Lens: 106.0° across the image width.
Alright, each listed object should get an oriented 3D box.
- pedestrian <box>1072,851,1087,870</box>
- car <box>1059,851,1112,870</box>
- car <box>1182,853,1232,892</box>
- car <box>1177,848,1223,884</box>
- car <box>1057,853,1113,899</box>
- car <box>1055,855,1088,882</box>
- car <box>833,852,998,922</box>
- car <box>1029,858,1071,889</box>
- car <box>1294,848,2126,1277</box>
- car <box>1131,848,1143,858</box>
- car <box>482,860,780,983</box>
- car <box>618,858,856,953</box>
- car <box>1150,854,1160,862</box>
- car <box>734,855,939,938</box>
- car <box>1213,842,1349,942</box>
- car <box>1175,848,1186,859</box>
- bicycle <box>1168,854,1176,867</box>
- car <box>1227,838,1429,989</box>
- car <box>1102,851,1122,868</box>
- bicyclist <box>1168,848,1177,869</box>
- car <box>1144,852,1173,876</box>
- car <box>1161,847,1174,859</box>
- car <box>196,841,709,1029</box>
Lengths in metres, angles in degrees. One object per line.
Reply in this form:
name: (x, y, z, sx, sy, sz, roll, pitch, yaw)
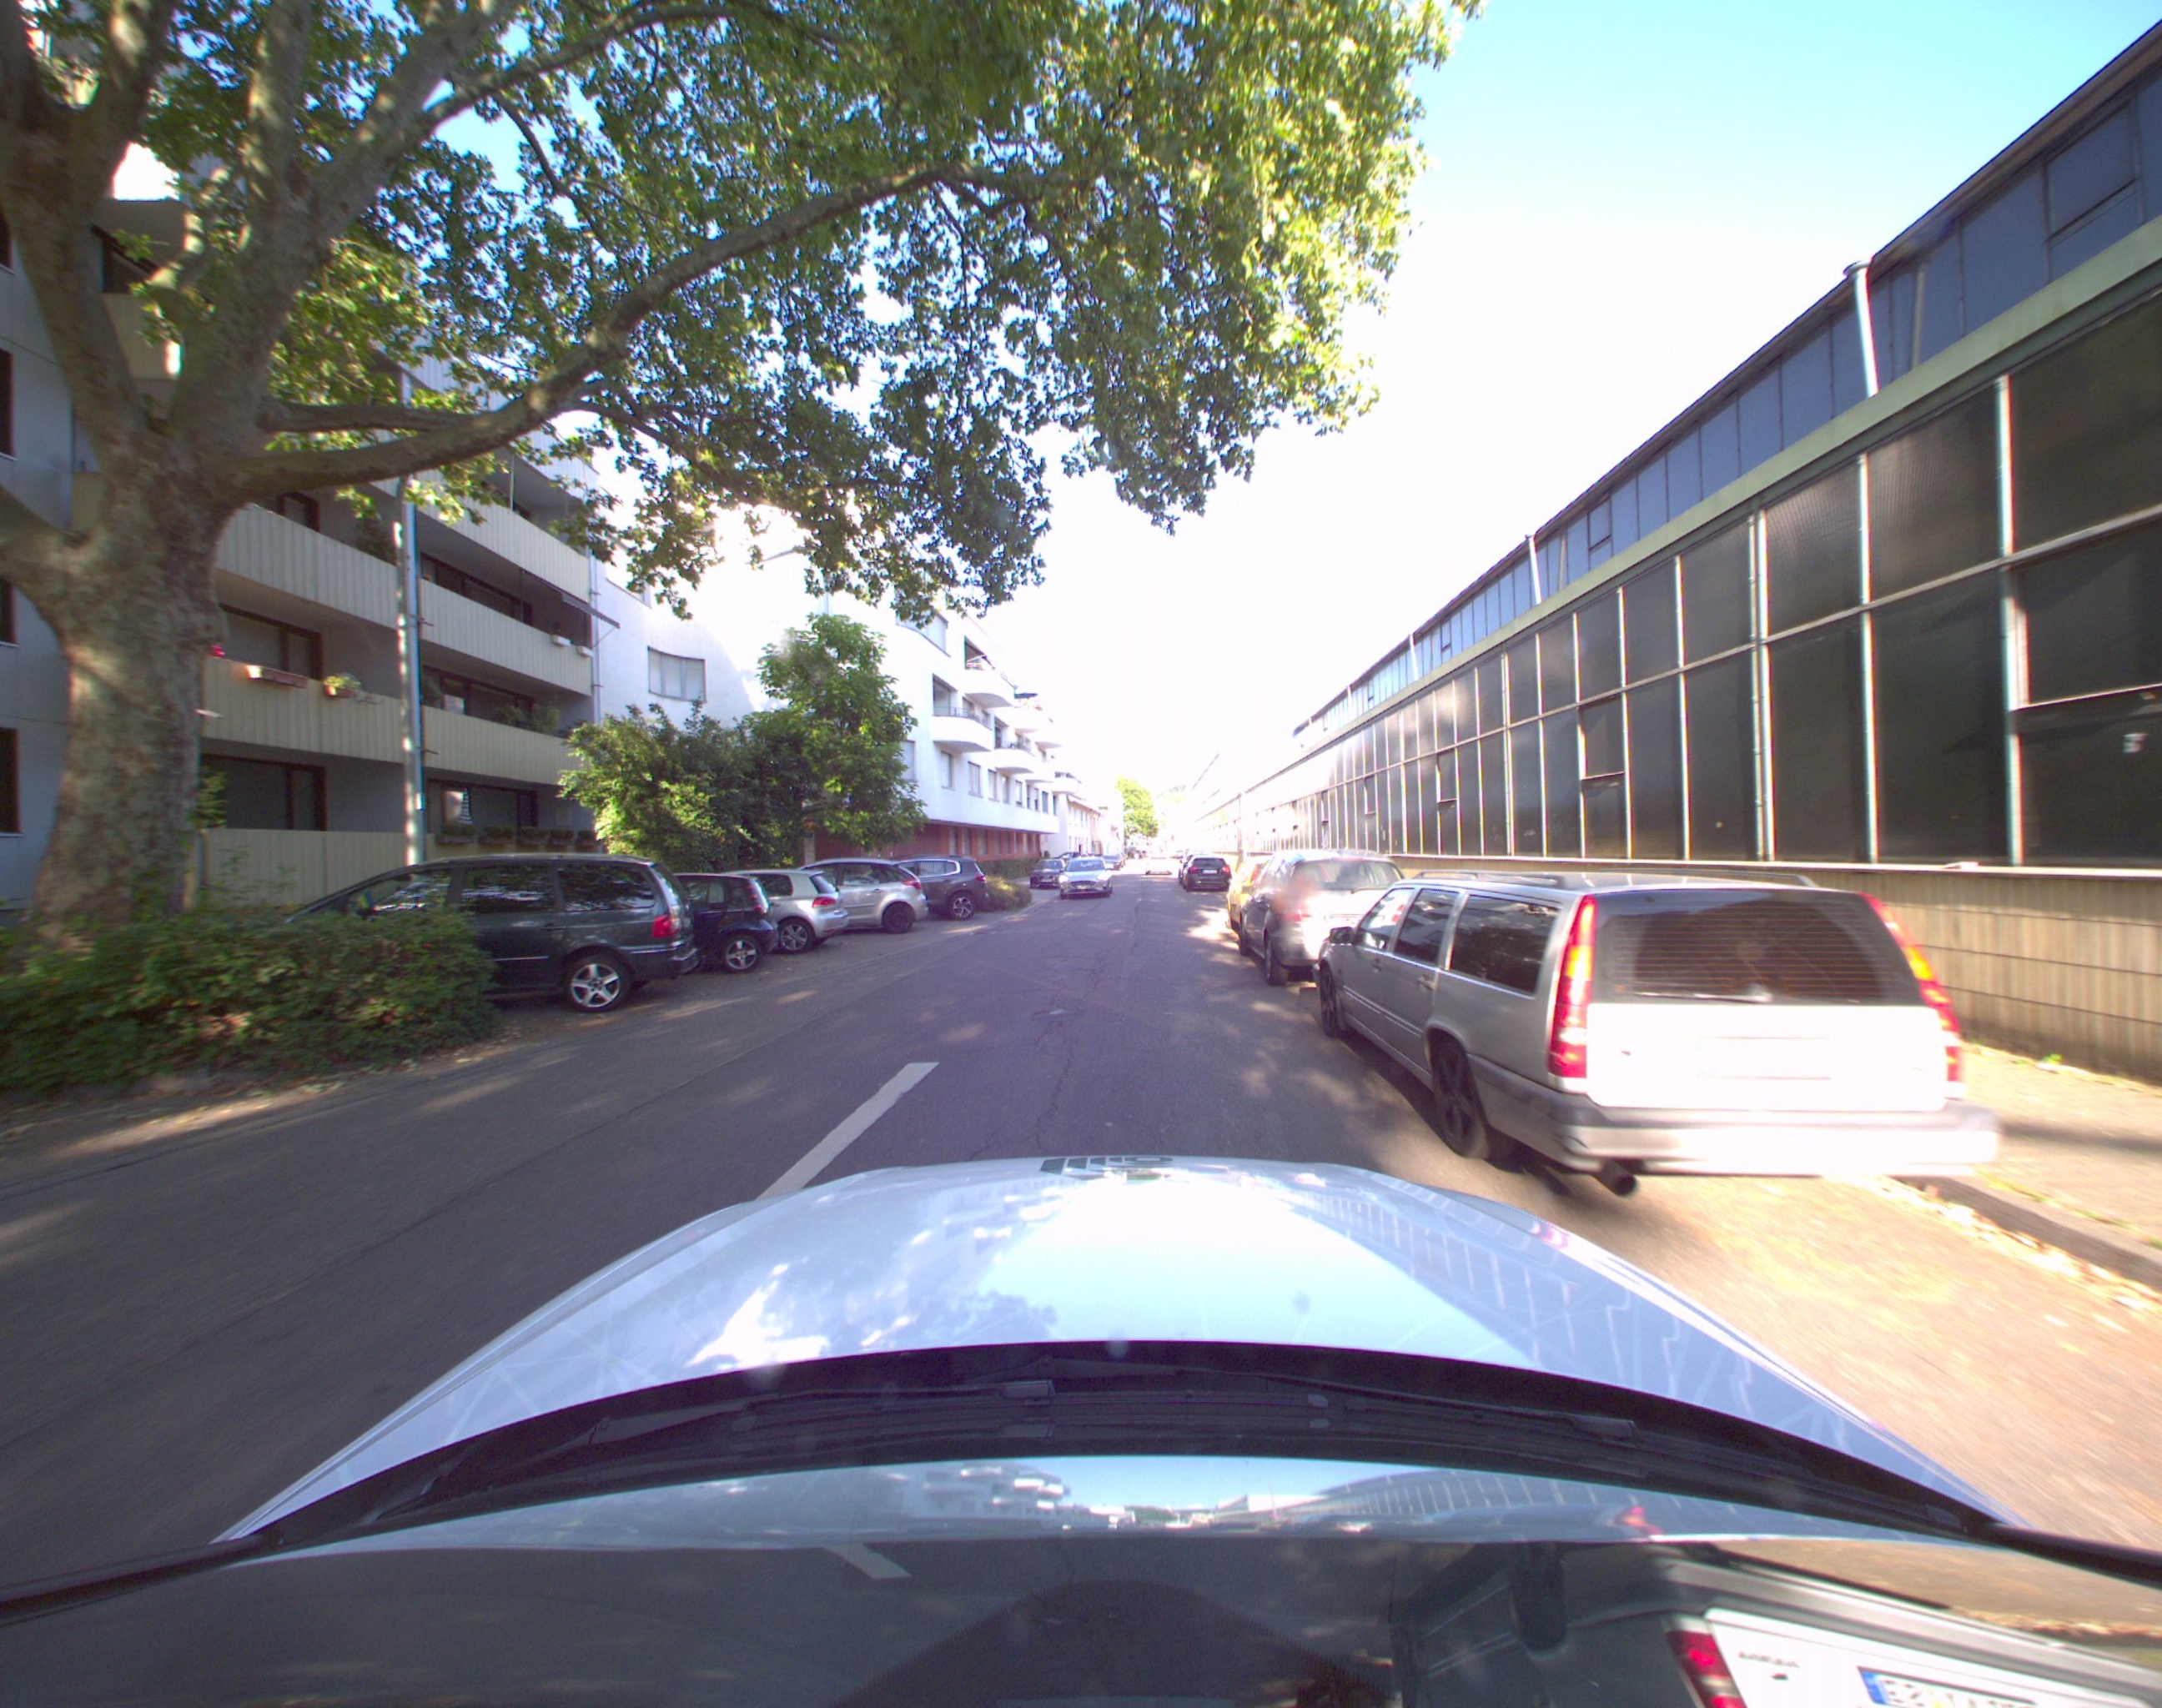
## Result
pedestrian: (-0.145, 0.597, 77.368, 0.853, 1.818, 1.139, 2, 1, 29)
car: (0.399, 0.568, 68.231, 4.302, 1.535, 1.691, 0, 0, 3)
car: (5.081, 0.719, 33.412, 1.742, 1.491, 4.628, 0, 0, 5)
car: (5.586, 0.541, 38.589, 1.799, 1.587, 4.409, 0, 0, 3)
car: (0.221, 0.771, 30.695, 1.892, 1.536, 4.623, -2, 0, 2)
car: (-0.567, 0.892, 51.810, 1.850, 1.587, 4.624, 0, 0, 2)
car: (-4.307, 0.799, 21.173, 3.964, 1.662, 1.687, -1, 0, -23)
car: (-1.470, 0.931, 39.905, 1.667, 1.433, 3.775, 0, 0, 4)
car: (2.793, 0.747, 5.135, 1.892, 1.493, 4.532, -1, 0, 3)
car: (10.183, -0.261, 147.792, 1.843, 1.791, 4.617, -1, 0, 7)
car: (-6.462, 0.900, 12.164, 3.651, 1.560, 1.688, -1, 0, -21)
car: (-6.122, 0.875, 14.875, 3.634, 1.560, 1.696, -1, 0, -7)
car: (13.605, 0.761, 149.614, 1.833, 1.491, 4.150, -1, 0, 5)
car: (-5.375, 0.865, 18.049, 4.139, 1.640, 1.765, -1, 0, -20)
car: (3.636, 0.642, 15.496, 1.743, 1.635, 4.004, -1, 0, 3)
car: (15.828, -0.032, 129.899, 1.621, 1.587, 4.075, -4, 0, 5)
bicycle: (7.930, 0.556, 70.788, 0.694, 1.130, 2.407, -1, 0, 7)
car: (3.070, 0.659, 11.024, 1.742, 1.635, 4.315, -1, 0, 5)
car: (2.820, 0.489, 74.033, 1.678, 1.535, 4.337, 0, 0, 2)
bicyclist: (7.939, 0.420, 70.810, 0.694, 1.790, 1.043, -1, 0, 7)
car: (5.230, 0.660, 55.220, 1.833, 1.491, 4.150, -1, 0, 5)
car: (13.791, -0.183, 129.625, 1.845, 1.791, 4.612, -1, 0, 4)
car: (-6.768, 0.770, 9.412, 4.268, 1.775, 1.894, -1, 0, -19)
